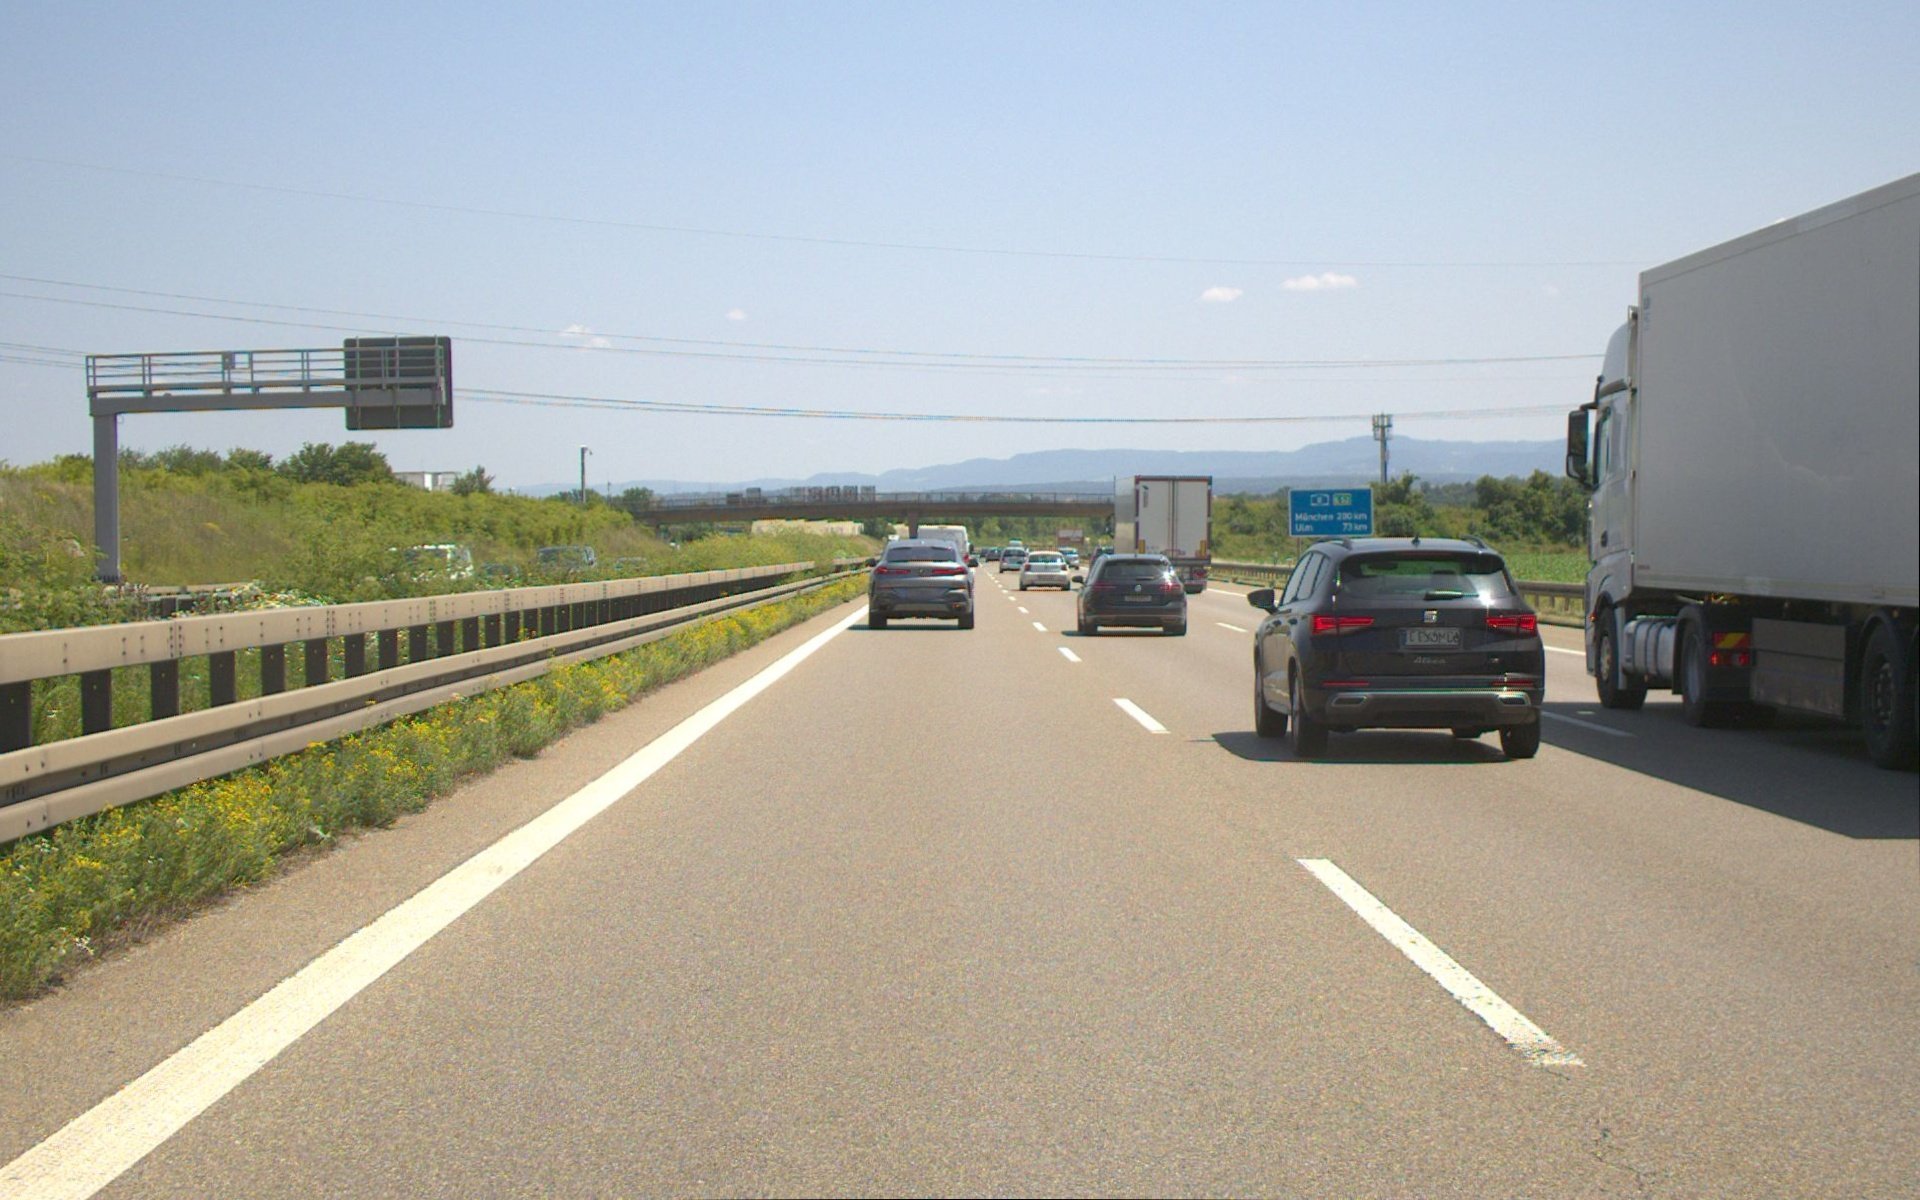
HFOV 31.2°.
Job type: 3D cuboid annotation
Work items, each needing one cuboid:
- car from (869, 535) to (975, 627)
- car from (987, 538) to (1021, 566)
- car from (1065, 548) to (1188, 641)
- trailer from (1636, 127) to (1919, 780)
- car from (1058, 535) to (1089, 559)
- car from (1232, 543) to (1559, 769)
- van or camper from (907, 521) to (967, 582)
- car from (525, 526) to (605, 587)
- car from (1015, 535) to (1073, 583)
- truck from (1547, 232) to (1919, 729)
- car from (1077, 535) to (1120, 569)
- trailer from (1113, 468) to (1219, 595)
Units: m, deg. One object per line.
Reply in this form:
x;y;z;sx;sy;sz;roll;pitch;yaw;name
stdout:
-0.746;-0.370;65.219;1.851;1.658;3.735;1;1;-3;car
2.674;-2.937;210.312;1.993;1.677;4.000;1;1;0;car
2.942;-0.122;61.723;1.933;1.569;4.935;1;1;0;car
7.598;-0.957;24.338;2.868;4.205;13.295;1;1;0;trailer
7.987;-3.735;242.087;1.993;1.677;4.000;1;1;0;car
3.191;0.370;25.897;1.796;1.556;3.824;1;1;-3;car
-0.838;-1.790;127.479;2.110;2.204;5.265;1;1;0;van or camper
-13.591;-1.509;118.668;1.993;1.934;5.855;-3;1;0;car
3.024;-1.484;124.215;1.993;1.677;4.000;1;1;0;car
7.537;-1.015;31.844;2.862;4.077;6.880;1;1;-1;truck
7.067;-2.460;175.806;1.993;1.677;4.000;1;1;0;car
7.185;-2.358;121.576;2.943;4.184;13.596;1;1;0;trailer
